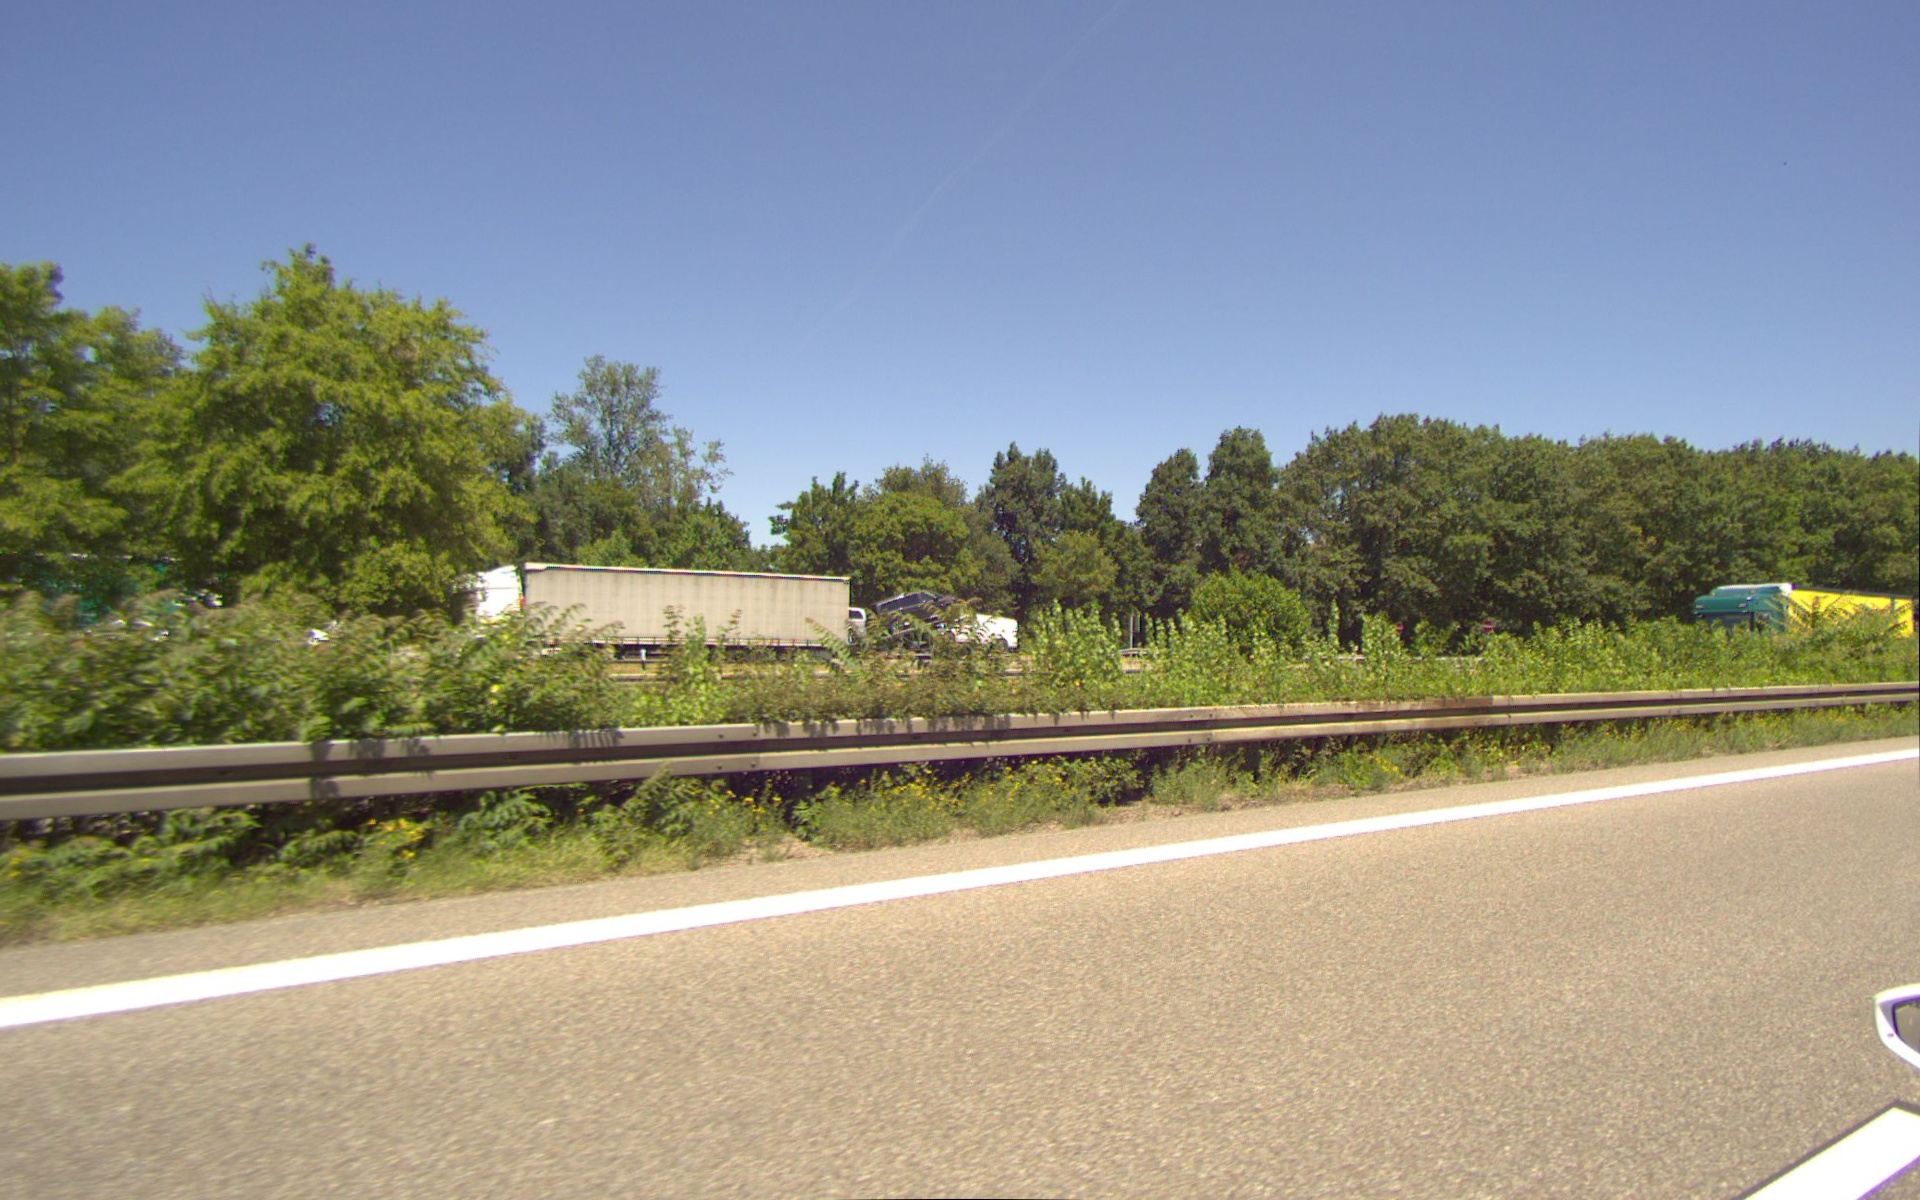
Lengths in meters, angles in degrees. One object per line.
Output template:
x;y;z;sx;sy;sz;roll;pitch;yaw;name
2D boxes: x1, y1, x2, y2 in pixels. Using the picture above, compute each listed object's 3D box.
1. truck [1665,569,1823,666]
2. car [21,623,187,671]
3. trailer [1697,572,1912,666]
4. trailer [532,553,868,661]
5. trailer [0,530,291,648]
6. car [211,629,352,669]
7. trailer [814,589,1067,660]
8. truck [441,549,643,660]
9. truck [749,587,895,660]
33.543;0.760;42.948;6.321;3.876;3.182;2;0;-31;truck
-30.543;1.671;35.990;4.128;1.627;1.795;1;-2;-25;car
39.148;0.965;46.305;13.861;3.876;3.182;2;0;-31;trailer
-11.168;0.438;44.104;13.859;4.190;3.206;2;0;-25;trailer
-36.814;-0.368;42.315;13.831;4.652;3.591;1;-2;-25;trailer
-26.259;1.891;39.031;4.409;1.484;1.789;2;-2;-34;car
-1.024;1.432;56.391;13.802;3.704;3.599;1;-2;-18;trailer
-17.094;0.248;41.341;7.291;4.190;3.206;2;0;-25;truck
-7.490;1.311;54.230;7.287;3.704;3.599;1;-2;-18;truck
